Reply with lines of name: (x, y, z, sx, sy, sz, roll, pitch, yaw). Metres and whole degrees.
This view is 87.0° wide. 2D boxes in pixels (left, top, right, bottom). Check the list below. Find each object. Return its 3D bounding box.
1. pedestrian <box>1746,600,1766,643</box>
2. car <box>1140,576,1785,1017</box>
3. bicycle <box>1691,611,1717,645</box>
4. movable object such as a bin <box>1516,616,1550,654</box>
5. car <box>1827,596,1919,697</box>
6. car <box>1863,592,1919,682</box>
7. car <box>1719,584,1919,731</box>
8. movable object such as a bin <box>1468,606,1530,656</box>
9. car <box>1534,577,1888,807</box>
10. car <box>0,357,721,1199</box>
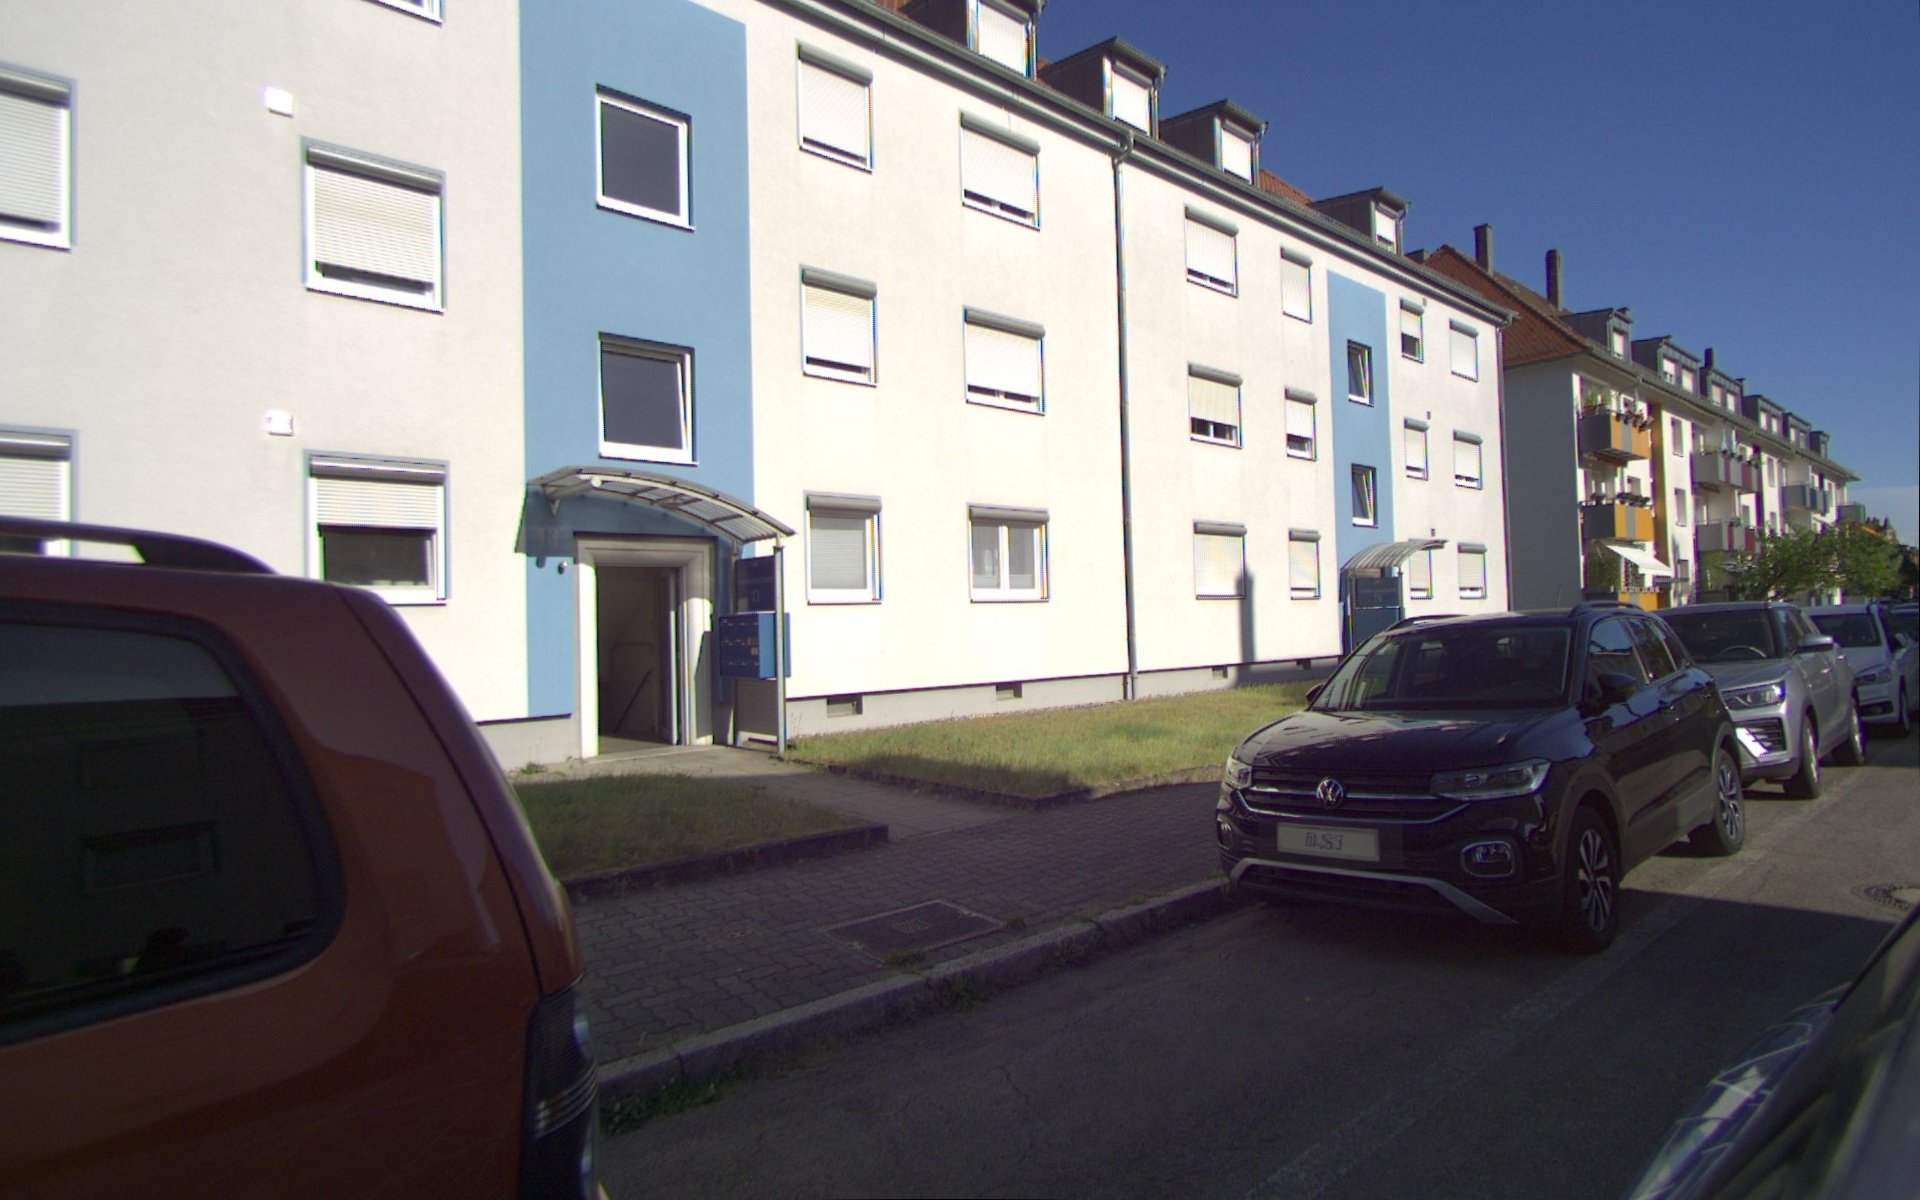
pedestrian: (28.657, 0.776, 36.426, 0.353, 1.514, 0.451, -2, -1, -40)
car: (3.125, 0.786, 5.828, 4.321, 1.617, 1.714, 0, -5, -41)
bicycle: (25.836, 0.964, 35.146, 1.250, 1.147, 0.404, 0, -2, -40)
movable object such as a bin: (16.854, 1.026, 29.765, 0.744, 1.047, 0.644, -2, 1, -40)
car: (15.882, 0.710, 16.752, 4.082, 1.518, 1.644, 0, -2, -40)
car: (19.609, 0.675, 20.101, 4.389, 1.670, 1.786, 0, -4, -40)
car: (11.440, 0.678, 13.104, 4.358, 1.595, 1.692, 0, -3, -42)
movable object such as a bin: (16.275, 0.920, 30.588, 1.087, 1.424, 1.330, -2, 1, -40)
car: (7.076, 0.721, 9.348, 4.376, 1.639, 1.751, 0, -5, -43)
car: (-2.437, 0.706, 0.667, 4.055, 1.690, 1.864, 0, -5, -41)
